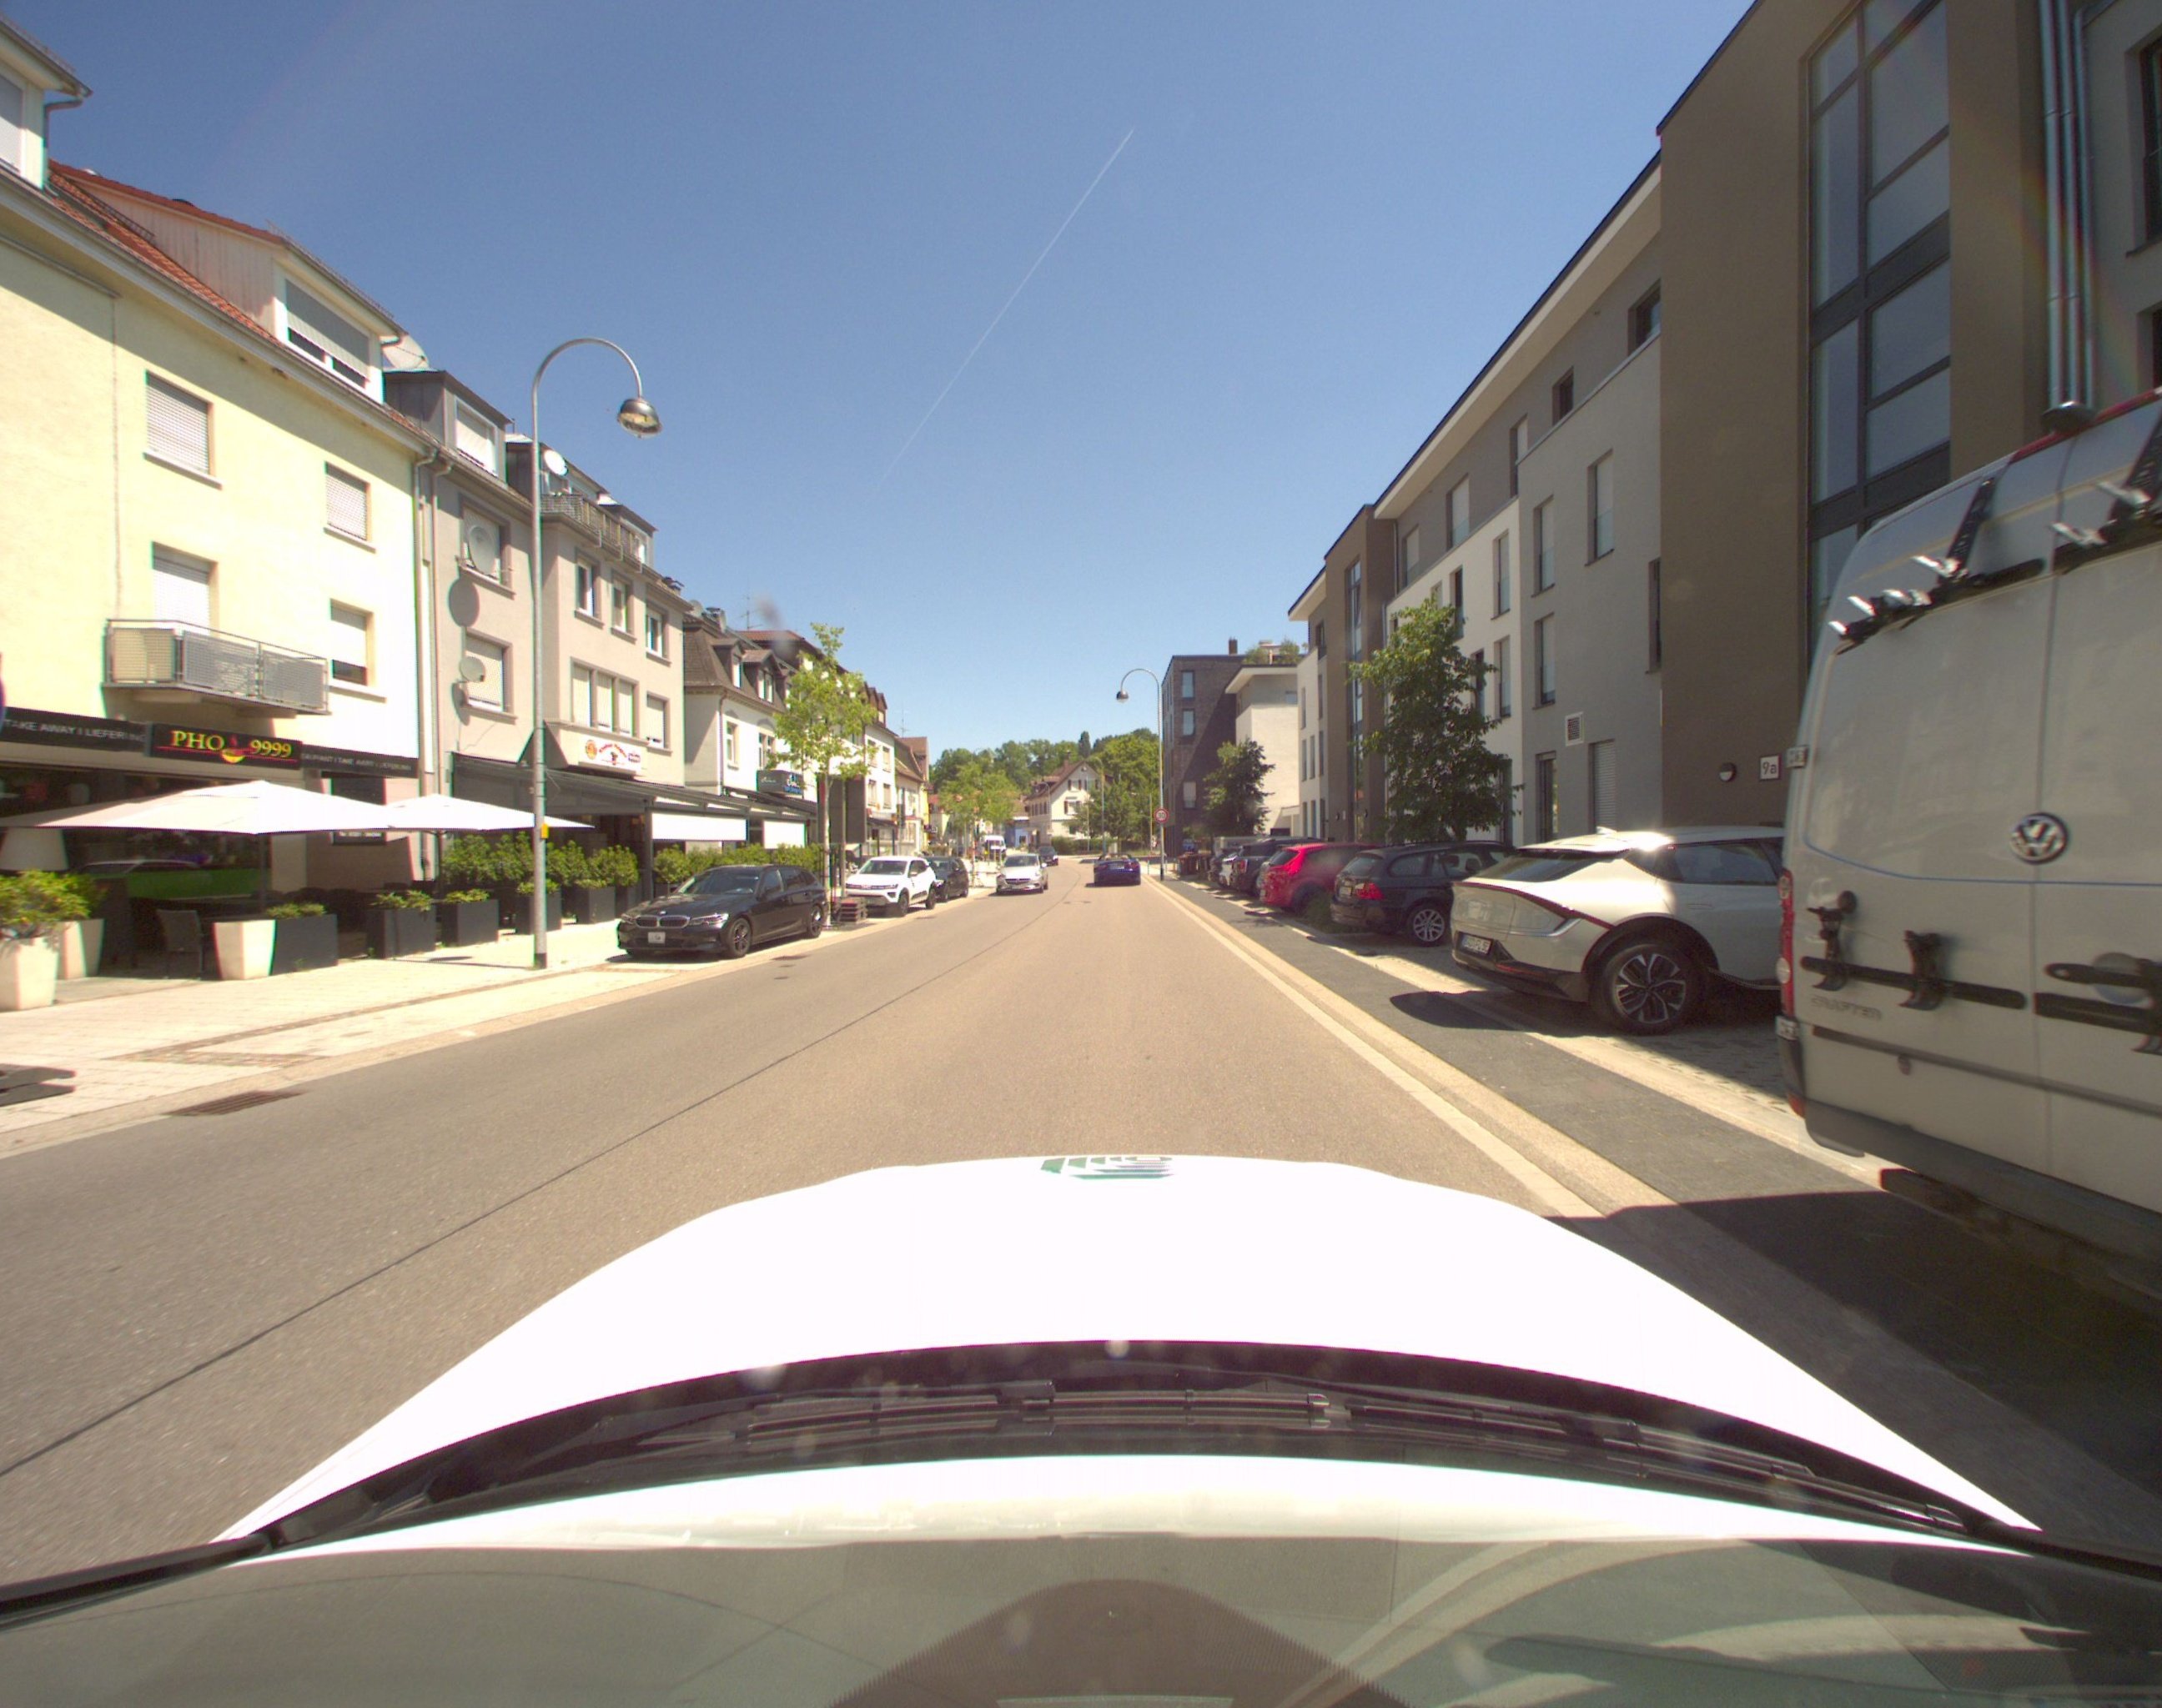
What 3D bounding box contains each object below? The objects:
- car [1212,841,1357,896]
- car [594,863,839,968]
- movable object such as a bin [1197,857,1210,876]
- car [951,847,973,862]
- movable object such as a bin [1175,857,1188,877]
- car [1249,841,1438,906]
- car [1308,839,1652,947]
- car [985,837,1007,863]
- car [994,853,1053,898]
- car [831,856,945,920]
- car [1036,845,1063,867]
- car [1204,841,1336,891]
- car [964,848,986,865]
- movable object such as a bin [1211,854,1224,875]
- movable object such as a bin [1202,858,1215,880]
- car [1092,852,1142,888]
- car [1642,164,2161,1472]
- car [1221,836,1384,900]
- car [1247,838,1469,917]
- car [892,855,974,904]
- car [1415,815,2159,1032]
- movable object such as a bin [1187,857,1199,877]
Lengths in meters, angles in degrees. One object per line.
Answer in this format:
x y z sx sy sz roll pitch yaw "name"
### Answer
6.099 0.424 24.760 3.966 1.529 1.943 -1 0 1 "car"
-6.068 0.922 14.336 1.826 1.429 4.789 0 0 5 "car"
5.956 0.609 39.598 0.493 0.929 0.623 -3 0 3 "movable object such as a bin"
-14.436 0.039 98.613 1.999 1.692 3.976 0 0 -18 "car"
4.885 0.628 39.647 0.534 0.929 0.623 -3 0 3 "movable object such as a bin"
6.173 0.453 19.498 3.966 1.432 1.763 -1 0 1 "car"
5.801 0.533 12.227 4.246 1.416 1.927 -1 0 -2 "car"
-8.194 -0.393 78.105 1.866 2.400 4.803 -1 0 -9 "car"
-2.093 0.745 30.613 1.680 1.458 4.061 -3 0 2 "car"
-5.020 0.832 21.716 1.636 1.479 3.949 1 1 7 "car"
-2.454 0.161 63.013 1.659 1.606 3.990 -3 0 -7 "car"
6.134 0.395 26.763 3.966 1.529 1.741 -1 0 1 "car"
-11.283 0.296 86.671 1.994 1.738 3.984 -1 0 -11 "car"
6.233 0.471 37.249 0.493 0.929 0.623 -2 0 3 "movable object such as a bin"
5.663 0.653 36.233 0.493 0.929 0.623 -3 0 3 "movable object such as a bin"
1.570 0.629 34.218 1.862 1.342 4.602 -2 0 5 "car"
5.238 -0.110 2.171 5.917 2.732 2.197 -1 0 1 "car"
5.961 0.373 22.277 3.966 1.605 1.943 -1 0 1 "car"
5.608 0.468 16.884 3.957 1.408 1.857 -2 0 0 "car"
-4.810 0.789 27.071 1.662 1.443 4.015 -1 0 5 "car"
5.540 0.519 6.963 4.569 1.529 2.001 -1 0 2 "car"
5.435 0.631 39.610 0.493 0.929 0.623 -3 0 3 "movable object such as a bin"
